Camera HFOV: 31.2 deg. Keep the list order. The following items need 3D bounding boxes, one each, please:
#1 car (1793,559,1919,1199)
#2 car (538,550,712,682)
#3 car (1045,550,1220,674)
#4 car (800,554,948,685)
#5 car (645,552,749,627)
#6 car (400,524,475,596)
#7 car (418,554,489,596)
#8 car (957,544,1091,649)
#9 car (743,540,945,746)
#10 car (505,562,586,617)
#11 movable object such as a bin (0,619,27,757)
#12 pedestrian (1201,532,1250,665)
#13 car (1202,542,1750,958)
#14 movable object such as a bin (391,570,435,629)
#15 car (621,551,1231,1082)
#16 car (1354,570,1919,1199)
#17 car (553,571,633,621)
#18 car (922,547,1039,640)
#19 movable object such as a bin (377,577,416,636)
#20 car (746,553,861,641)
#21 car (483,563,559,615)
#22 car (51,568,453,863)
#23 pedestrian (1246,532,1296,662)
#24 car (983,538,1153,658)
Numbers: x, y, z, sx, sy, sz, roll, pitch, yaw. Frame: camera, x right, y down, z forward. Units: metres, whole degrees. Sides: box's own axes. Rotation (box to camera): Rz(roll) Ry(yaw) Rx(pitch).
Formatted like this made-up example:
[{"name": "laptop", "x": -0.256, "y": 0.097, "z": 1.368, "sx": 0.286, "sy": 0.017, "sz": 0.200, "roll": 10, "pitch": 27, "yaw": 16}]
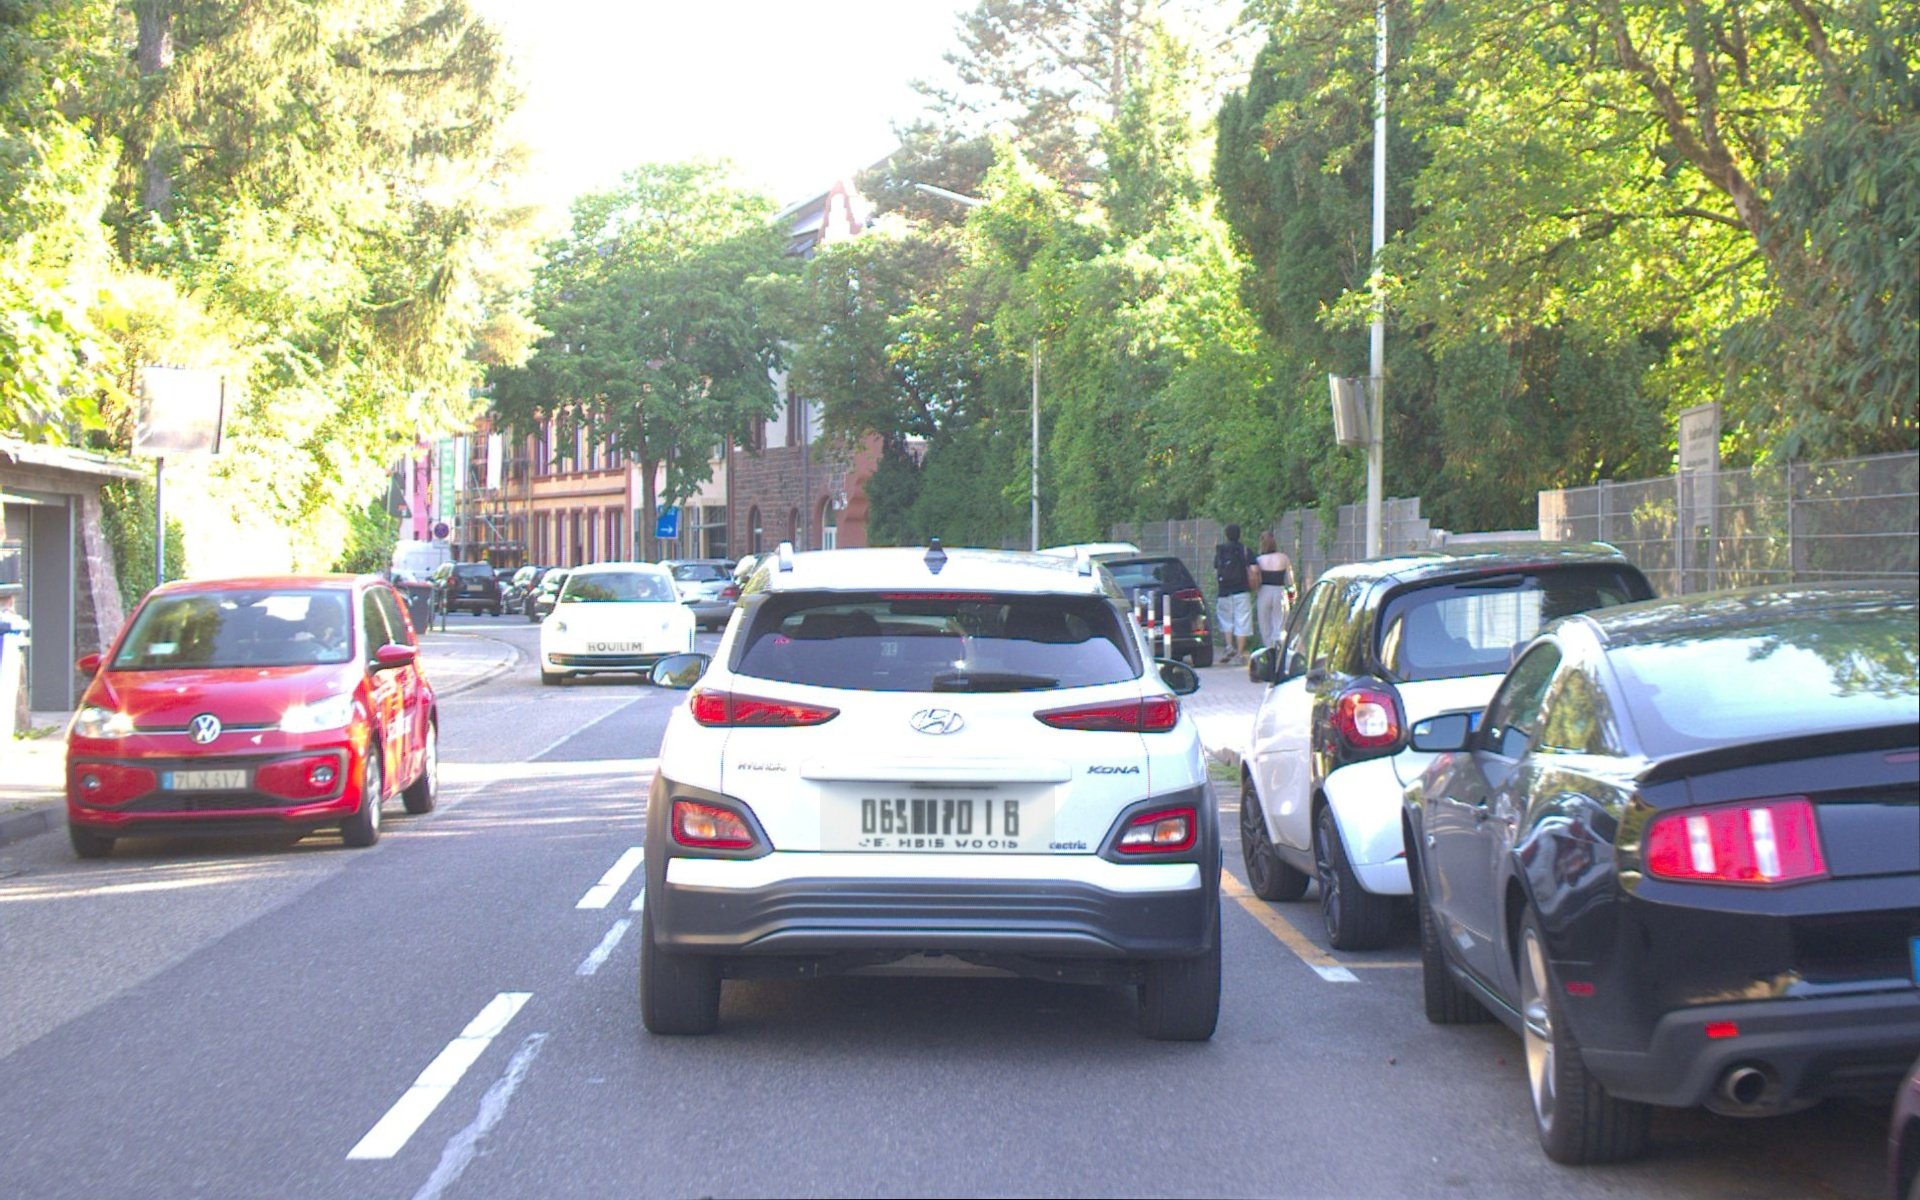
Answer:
[{"name": "car", "x": 2.315, "y": 0.669, "z": 4.559, "sx": 1.653, "sy": 1.559, "sz": 2.872, "roll": -4, "pitch": 0, "yaw": 1}, {"name": "car", "x": -4.142, "y": 0.174, "z": 43.003, "sx": 1.741, "sy": 1.469, "sz": 4.000, "roll": -3, "pitch": 0, "yaw": 0}, {"name": "car", "x": 2.115, "y": 0.118, "z": 43.163, "sx": 1.686, "sy": 1.426, "sz": 4.001, "roll": -2, "pitch": 1, "yaw": -4}, {"name": "car", "x": -0.992, "y": 0.199, "z": 41.151, "sx": 1.570, "sy": 1.472, "sz": 3.548, "roll": 1, "pitch": 1, "yaw": 1}, {"name": "car", "x": -5.729, "y": -0.247, "z": 74.559, "sx": 1.589, "sy": 1.577, "sz": 3.362, "roll": 0, "pitch": 1, "yaw": -16}, {"name": "car", "x": -19.364, "y": -1.469, "z": 127.301, "sx": 1.928, "sy": 2.574, "sz": 4.395, "roll": -1, "pitch": 1, "yaw": -20}, {"name": "car", "x": -15.413, "y": -0.767, "z": 104.526, "sx": 1.526, "sy": 1.256, "sz": 3.362, "roll": 0, "pitch": 1, "yaw": -19}, {"name": "car", "x": 0.971, "y": -0.063, "z": 53.870, "sx": 1.593, "sy": 1.514, "sz": 3.933, "roll": -2, "pitch": 1, "yaw": -6}, {"name": "car", "x": -0.985, "y": 0.298, "z": 28.060, "sx": 1.511, "sy": 1.528, "sz": 3.548, "roll": -1, "pitch": 1, "yaw": -3}, {"name": "car", "x": -13.113, "y": -0.337, "z": 108.645, "sx": 1.755, "sy": 1.611, "sz": 4.001, "roll": 1, "pitch": 1, "yaw": -18}, {"name": "movable object such as a bin", "x": -7.012, "y": 0.624, "z": 24.656, "sx": 0.490, "sy": 0.961, "sz": 0.583, "roll": 1, "pitch": 1, "yaw": -3}, {"name": "pedestrian", "x": 3.254, "y": -0.020, "z": 42.172, "sx": 0.503, "sy": 1.601, "sz": 0.491, "roll": -2, "pitch": 1, "yaw": -1}, {"name": "car", "x": 2.088, "y": 0.547, "z": 14.631, "sx": 1.624, "sy": 1.504, "sz": 2.904, "roll": -2, "pitch": 2, "yaw": -5}, {"name": "movable object such as a bin", "x": -11.273, "y": -0.014, "z": 70.868, "sx": 0.792, "sy": 1.185, "sz": 0.773, "roll": 1, "pitch": 0, "yaw": -2}, {"name": "car", "x": -0.117, "y": 0.615, "z": 12.086, "sx": 1.772, "sy": 1.537, "sz": 4.000, "roll": 1, "pitch": 1, "yaw": 0}, {"name": "car", "x": 2.259, "y": 0.697, "z": 9.930, "sx": 1.710, "sy": 1.492, "sz": 4.814, "roll": 2, "pitch": 1, "yaw": 1}, {"name": "car", "x": -9.386, "y": -0.112, "z": 87.733, "sx": 1.526, "sy": 1.256, "sz": 3.362, "roll": 0, "pitch": 1, "yaw": -15}, {"name": "car", "x": 0.328, "y": -0.139, "z": 59.648, "sx": 1.593, "sy": 1.484, "sz": 3.603, "roll": -2, "pitch": 1, "yaw": -6}, {"name": "movable object such as a bin", "x": -9.977, "y": 0.113, "z": 60.886, "sx": 0.495, "sy": 1.008, "sz": 1.113, "roll": 1, "pitch": 0, "yaw": -1}, {"name": "car", "x": -2.690, "y": -0.070, "z": 58.557, "sx": 1.592, "sy": 1.456, "sz": 3.100, "roll": 0, "pitch": 1, "yaw": -10}, {"name": "car", "x": -14.600, "y": -0.386, "z": 114.231, "sx": 1.755, "sy": 1.611, "sz": 4.001, "roll": 1, "pitch": 1, "yaw": -18}, {"name": "car", "x": -3.897, "y": 0.576, "z": 19.444, "sx": 1.550, "sy": 1.461, "sz": 3.569, "roll": -2, "pitch": 1, "yaw": -1}, {"name": "pedestrian", "x": 3.814, "y": -0.041, "z": 42.181, "sx": 0.503, "sy": 1.564, "sz": 0.503, "roll": -2, "pitch": 1, "yaw": -1}, {"name": "car", "x": 1.482, "y": -0.036, "z": 48.637, "sx": 1.593, "sy": 1.560, "sz": 4.001, "roll": -2, "pitch": 1, "yaw": -9}]
